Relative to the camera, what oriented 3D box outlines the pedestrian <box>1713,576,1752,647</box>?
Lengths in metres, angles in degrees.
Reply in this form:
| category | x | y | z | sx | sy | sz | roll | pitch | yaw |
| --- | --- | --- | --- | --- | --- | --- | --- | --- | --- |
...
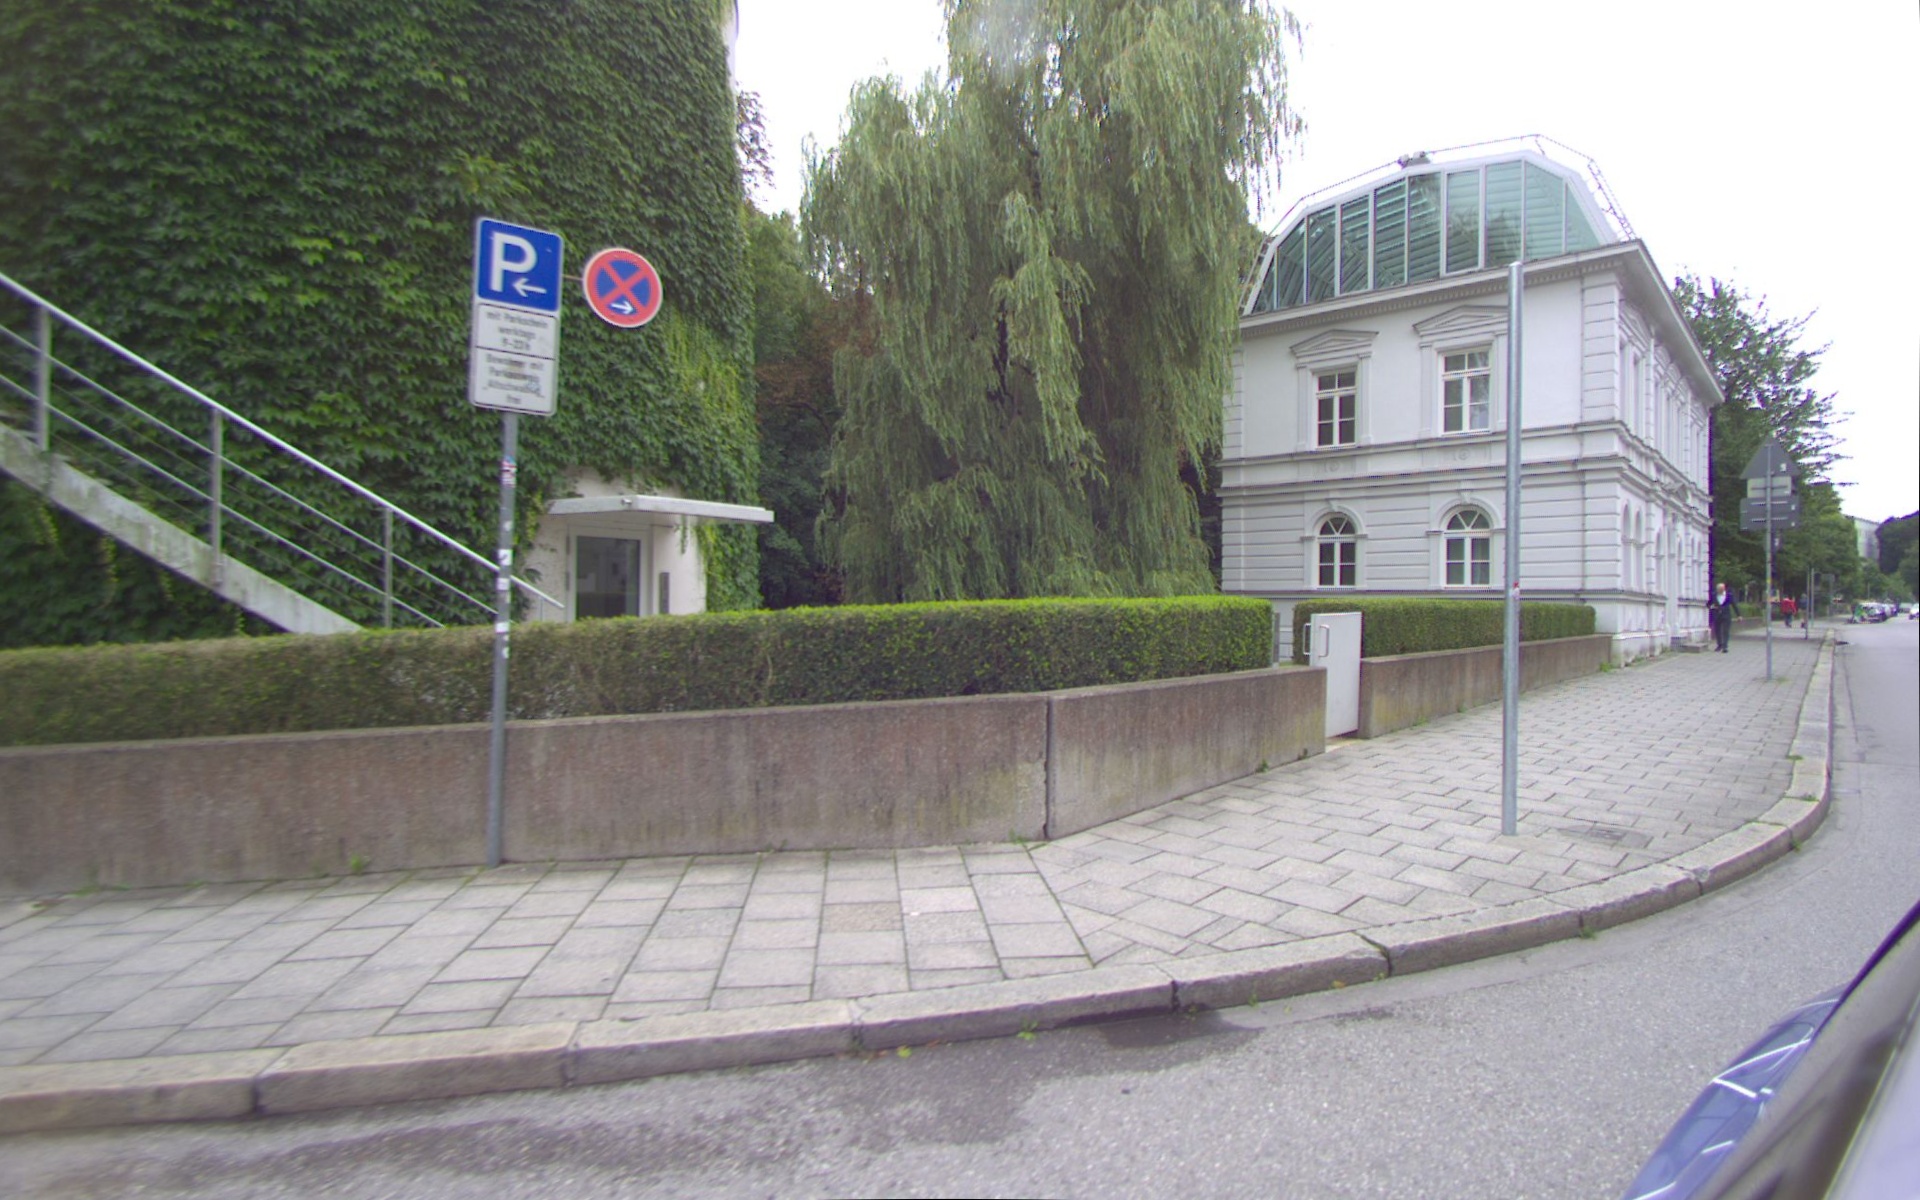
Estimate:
| category | x | y | z | sx | sy | sz | roll | pitch | yaw |
| --- | --- | --- | --- | --- | --- | --- | --- | --- | --- |
| pedestrian | 19.325 | 0.280 | 25.317 | 0.678 | 1.727 | 0.756 | 1 | 1 | 43 |

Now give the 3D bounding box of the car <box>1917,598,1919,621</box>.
| category | x | y | z | sx | sy | sz | roll | pitch | yaw |
| --- | --- | --- | --- | --- | --- | --- | --- | --- | --- |
| car | 90.276 | 0.897 | 93.871 | 1.992 | 2.039 | 3.940 | 0 | 0 | 42 |
